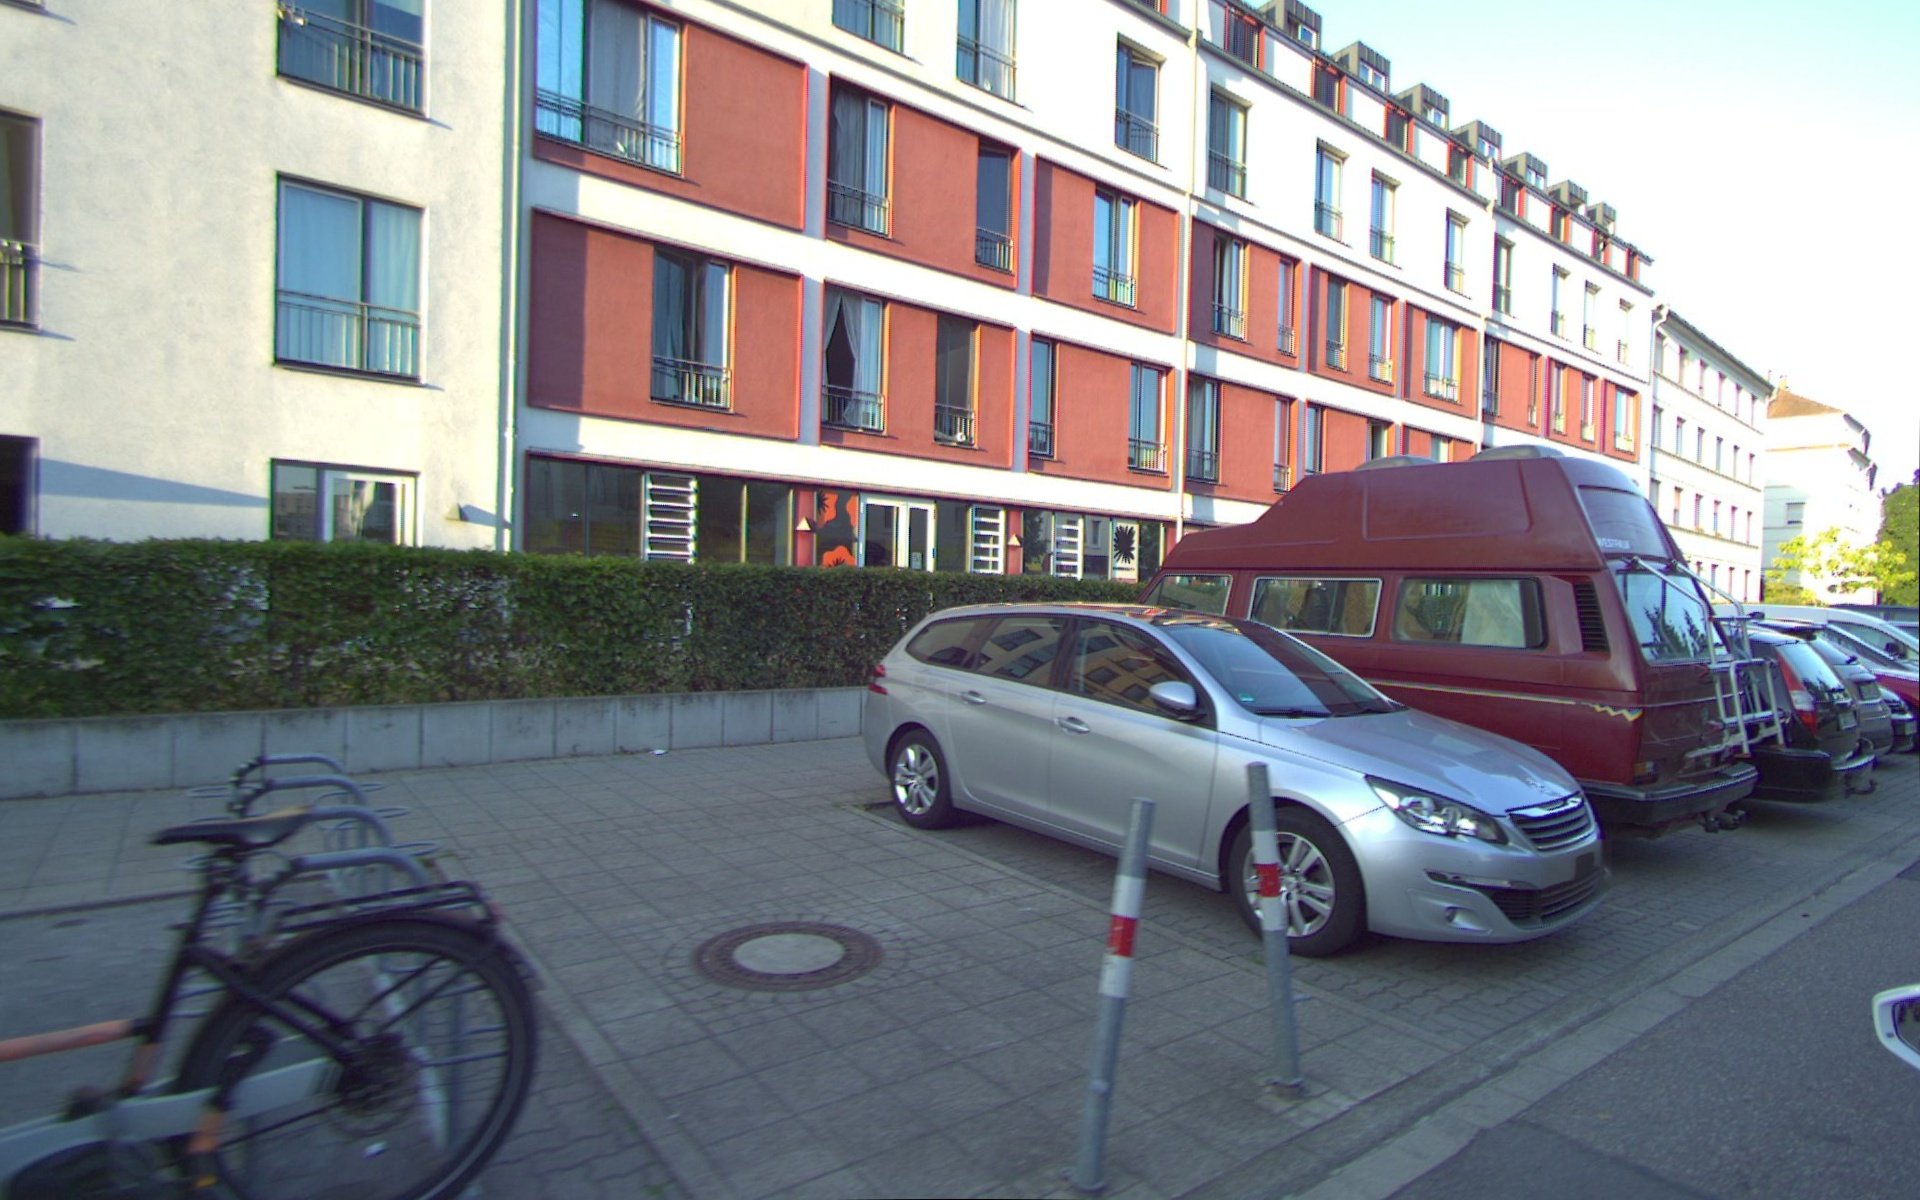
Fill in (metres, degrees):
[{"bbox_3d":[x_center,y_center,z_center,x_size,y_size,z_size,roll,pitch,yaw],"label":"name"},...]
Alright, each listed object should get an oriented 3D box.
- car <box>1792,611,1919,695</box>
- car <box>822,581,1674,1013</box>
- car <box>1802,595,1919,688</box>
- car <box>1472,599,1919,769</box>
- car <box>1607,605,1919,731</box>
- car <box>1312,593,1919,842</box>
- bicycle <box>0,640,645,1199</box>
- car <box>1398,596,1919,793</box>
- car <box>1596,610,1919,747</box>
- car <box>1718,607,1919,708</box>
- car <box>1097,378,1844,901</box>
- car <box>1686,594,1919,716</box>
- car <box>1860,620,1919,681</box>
[{"bbox_3d":[20.665,1.149,21.382,1.870,1.674,4.226,1,1,-37],"label":"car"},{"bbox_3d":[1.209,0.684,5.937,1.865,1.480,4.576,1,1,-40],"label":"car"},{"bbox_3d":[22.625,0.995,22.994,1.889,2.048,4.815,1,1,-37],"label":"car"},{"bbox_3d":[8.865,0.852,12.300,1.983,1.596,4.176,1,1,-38],"label":"car"},{"bbox_3d":[13.135,0.985,16.133,1.983,1.637,4.176,1,1,-38],"label":"car"},{"bbox_3d":[5.476,0.782,8.834,1.775,1.558,4.176,1,1,-38],"label":"car"},{"bbox_3d":[-2.048,0.713,1.594,2.838,1.238,0.802,1,1,-36],"label":"bicycle"},{"bbox_3d":[7.109,0.806,10.701,1.821,1.558,4.187,1,1,-31],"label":"car"},{"bbox_3d":[11.325,0.972,13.601,1.832,1.510,4.179,1,1,-36],"label":"car"},{"bbox_3d":[17.152,1.047,18.879,1.981,1.682,4.226,1,1,-37],"label":"car"},{"bbox_3d":[3.309,0.163,7.443,1.980,2.619,4.481,1,1,-35],"label":"car"},{"bbox_3d":[15.328,0.895,17.227,1.981,1.860,4.226,1,1,-37],"label":"car"},{"bbox_3d":[26.251,1.383,25.895,1.981,1.525,4.226,1,1,-37],"label":"car"}]
